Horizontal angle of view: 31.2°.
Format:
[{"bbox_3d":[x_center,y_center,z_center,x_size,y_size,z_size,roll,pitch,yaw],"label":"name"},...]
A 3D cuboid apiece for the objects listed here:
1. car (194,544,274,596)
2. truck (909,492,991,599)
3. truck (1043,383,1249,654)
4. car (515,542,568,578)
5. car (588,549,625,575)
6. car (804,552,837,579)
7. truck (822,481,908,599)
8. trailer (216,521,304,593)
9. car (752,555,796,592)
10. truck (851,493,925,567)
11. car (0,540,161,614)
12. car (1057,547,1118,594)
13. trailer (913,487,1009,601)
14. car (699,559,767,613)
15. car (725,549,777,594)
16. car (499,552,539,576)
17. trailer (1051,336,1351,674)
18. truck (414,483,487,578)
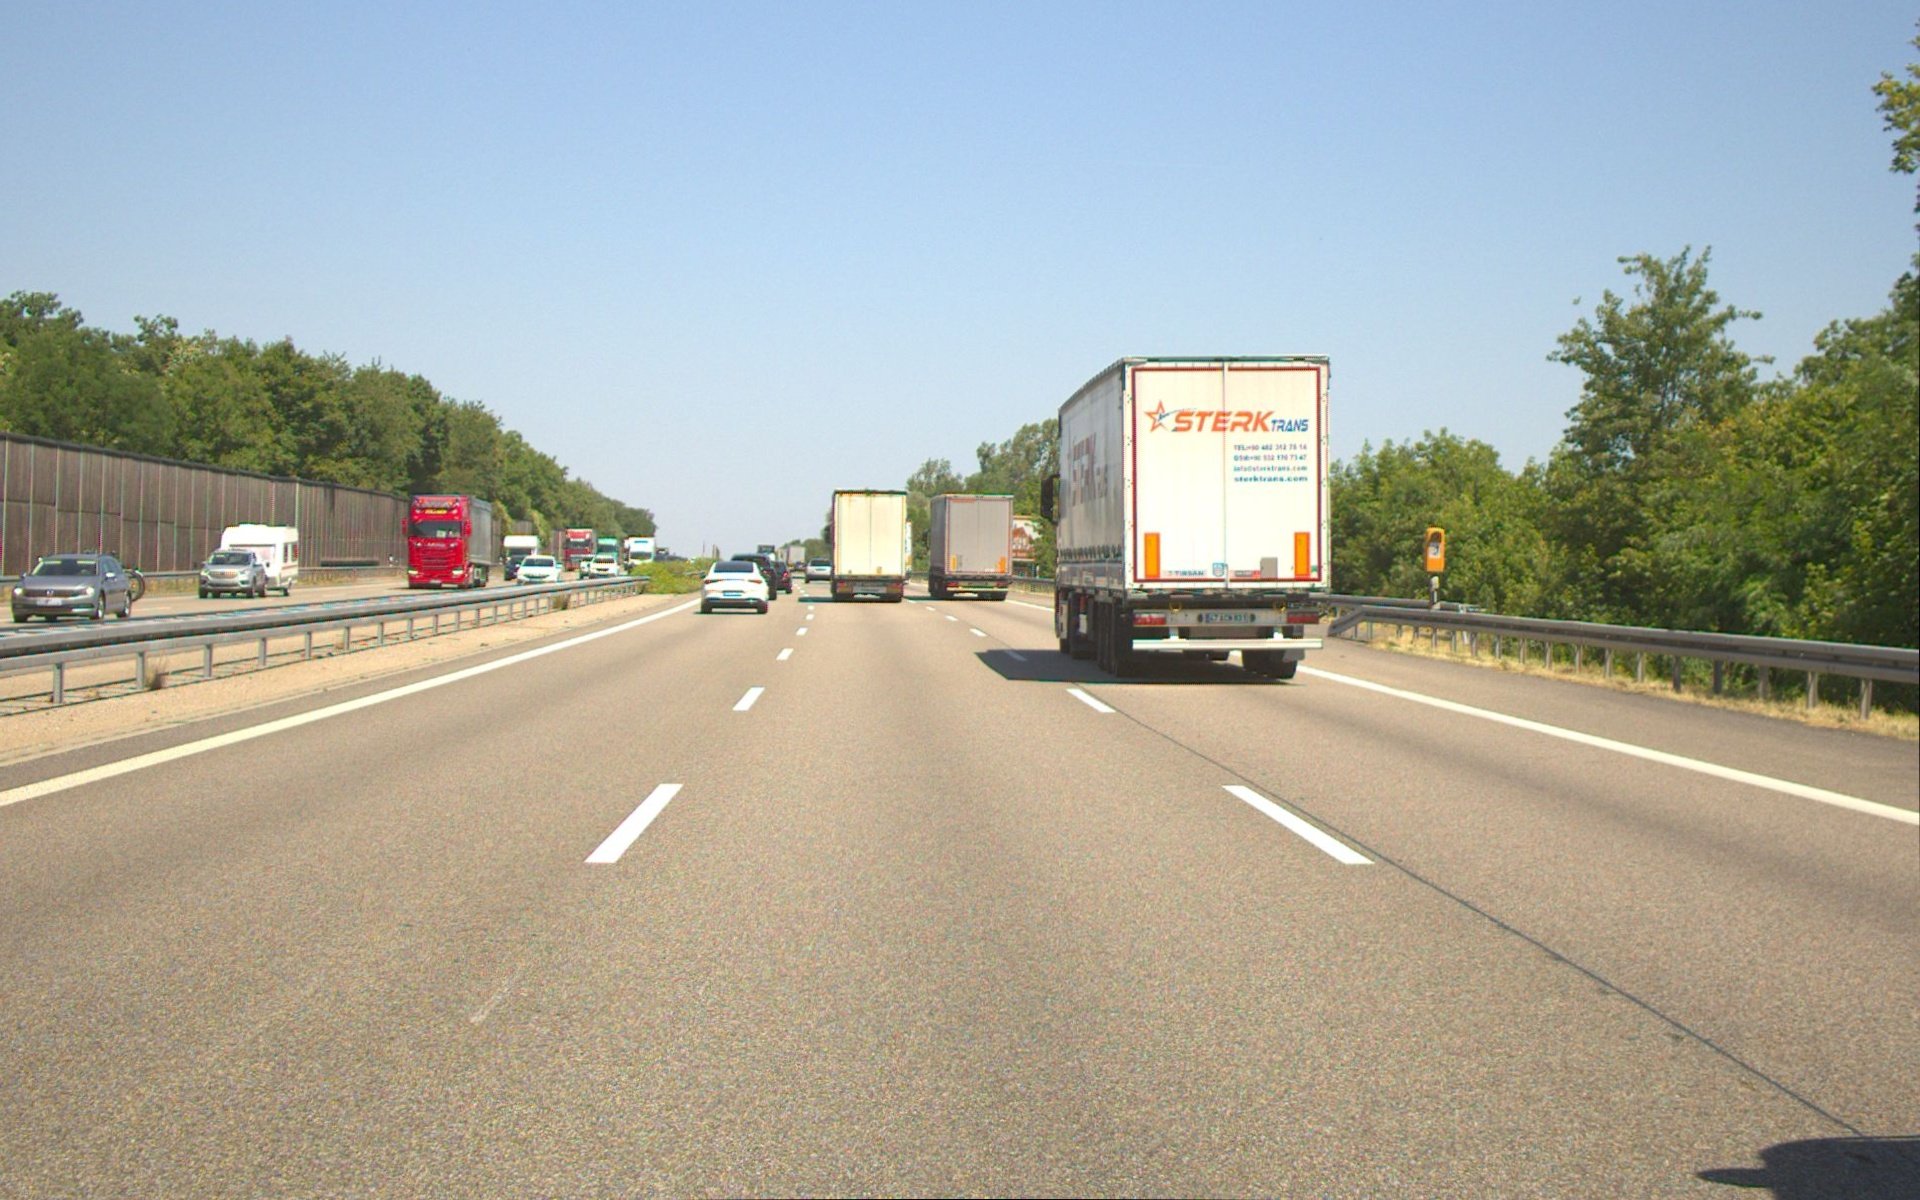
[{"bbox_3d":[-24.540,-1.019,116.333,1.899,1.705,4.907,1,1,-3],"label":"car"},{"bbox_3d":[-0.476,-2.228,141.429,2.691,4.201,7.839,2,0,-4],"label":"truck"},{"bbox_3d":[2.915,-1.283,55.757,2.707,4.074,6.965,1,1,-2],"label":"truck"},{"bbox_3d":[-17.963,-1.736,147.759,1.899,1.515,4.419,1,1,-2],"label":"car"},{"bbox_3d":[-21.055,-2.256,204.795,1.805,1.538,4.246,1,1,-1],"label":"car"},{"bbox_3d":[-8.556,-2.118,210.902,1.855,1.611,4.001,1,1,-4],"label":"car"},{"bbox_3d":[-3.617,-2.175,127.956,2.706,4.072,13.475,2,0,-3],"label":"truck"},{"bbox_3d":[-24.789,-1.522,121.932,2.131,2.468,6.269,1,1,-3],"label":"trailer"},{"bbox_3d":[-8.255,-1.190,152.307,1.855,1.611,4.001,1,1,-4],"label":"car"},{"bbox_3d":[-4.547,-4.354,215.273,3.373,4.289,11.452,4,1,-6],"label":"truck"},{"bbox_3d":[-19.005,-0.524,74.361,2.124,1.517,5.983,1,1,-1],"label":"car"},{"bbox_3d":[4.475,-1.035,121.054,1.855,1.611,4.000,1,1,-2],"label":"car"},{"bbox_3d":[-0.054,-2.166,135.948,2.703,4.201,13.214,2,0,-4],"label":"trailer"},{"bbox_3d":[-6.356,-0.411,96.440,1.855,1.481,4.001,1,1,-3],"label":"car"},{"bbox_3d":[-7.780,-1.063,128.298,1.855,1.611,4.001,1,1,-3],"label":"car"},{"bbox_3d":[-25.662,-2.115,200.167,1.919,1.370,4.582,1,1,-3],"label":"car"},{"bbox_3d":[3.129,-1.235,48.982,2.707,4.074,14.152,1,1,-2],"label":"trailer"},{"bbox_3d":[-22.489,-3.047,152.011,2.358,4.062,7.154,1,1,-2],"label":"truck"}]
